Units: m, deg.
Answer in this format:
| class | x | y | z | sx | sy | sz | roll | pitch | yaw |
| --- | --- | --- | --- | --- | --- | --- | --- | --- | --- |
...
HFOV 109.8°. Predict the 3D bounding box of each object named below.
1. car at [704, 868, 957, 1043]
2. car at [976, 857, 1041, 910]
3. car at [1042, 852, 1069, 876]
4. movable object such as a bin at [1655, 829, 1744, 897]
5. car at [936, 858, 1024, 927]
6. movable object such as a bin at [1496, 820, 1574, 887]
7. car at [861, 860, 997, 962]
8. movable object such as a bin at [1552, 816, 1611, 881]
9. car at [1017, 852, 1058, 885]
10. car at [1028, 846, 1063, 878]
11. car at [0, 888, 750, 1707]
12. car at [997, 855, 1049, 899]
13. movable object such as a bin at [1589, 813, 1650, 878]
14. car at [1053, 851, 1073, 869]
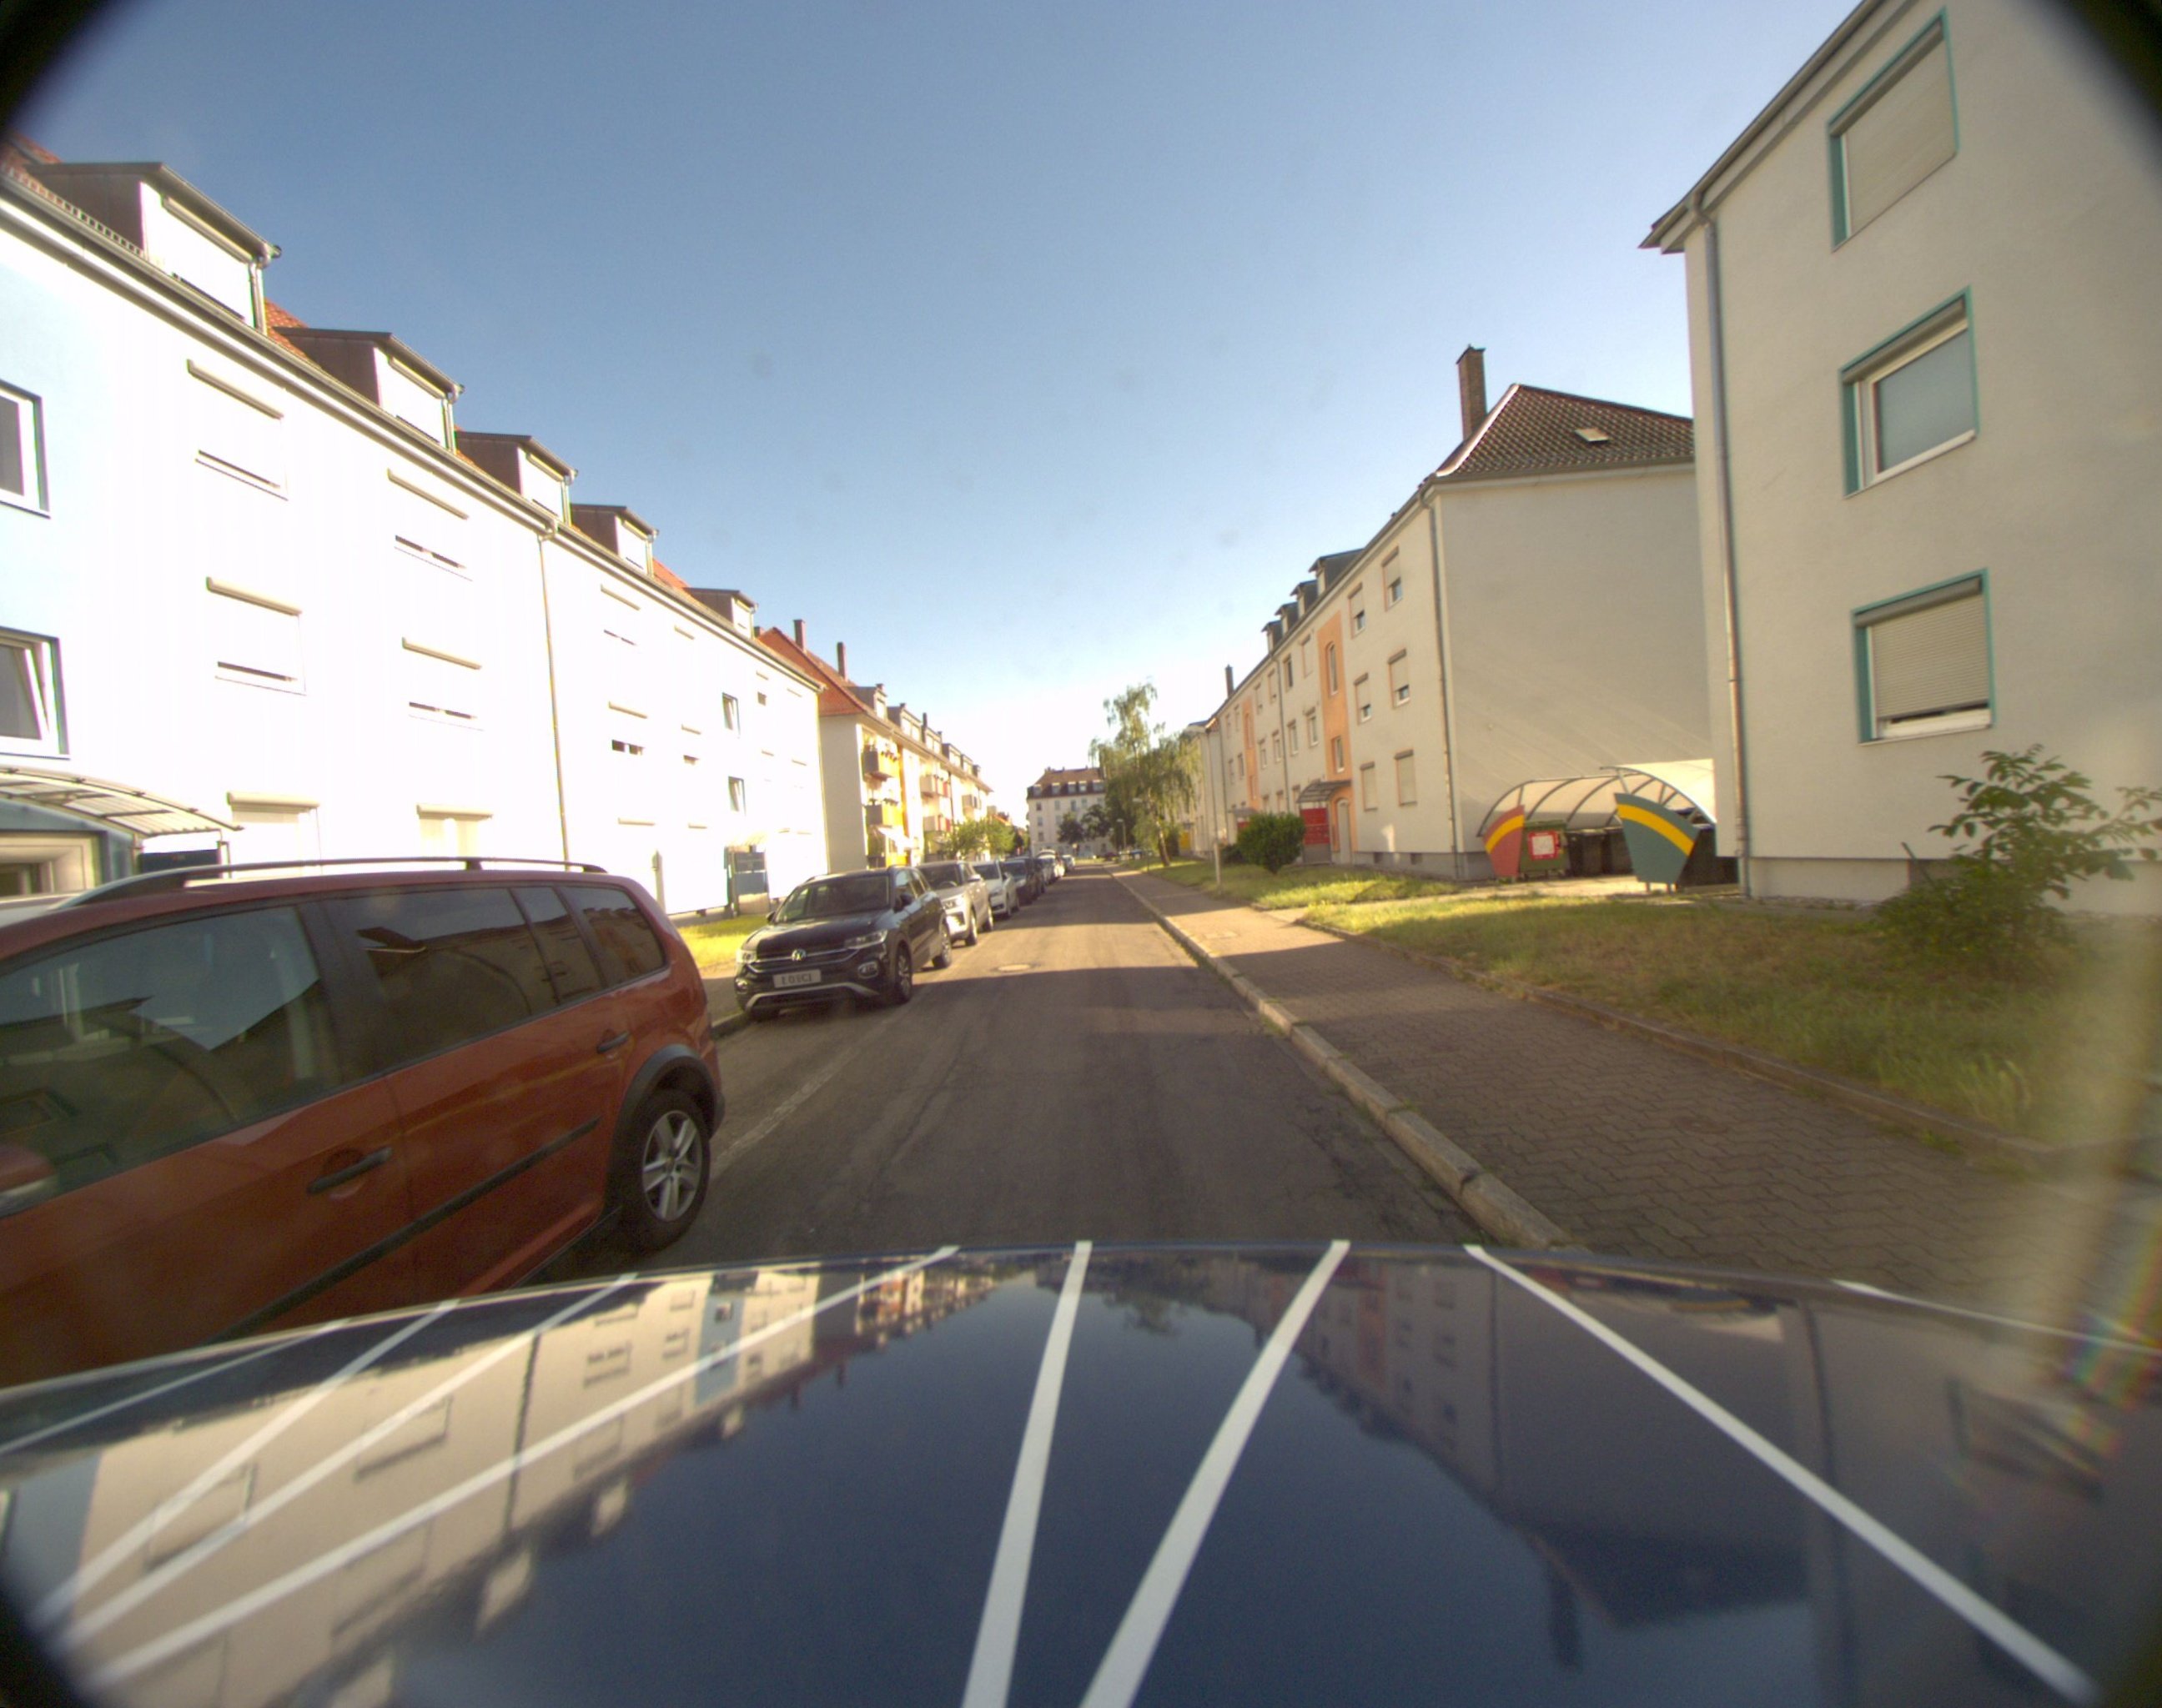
| class | x | y | z | sx | sy | sz | roll | pitch | yaw |
| --- | --- | --- | --- | --- | --- | --- | --- | --- | --- |
| car | -2.777 | 1.033 | 9.399 | 1.708 | 1.516 | 3.876 | -4 | 0 | 1 |
| car | -2.451 | 0.962 | 26.572 | 1.708 | 1.562 | 4.041 | -4 | 0 | 1 |
| car | -1.884 | 0.716 | 57.736 | 1.708 | 1.562 | 4.734 | -4 | 1 | 1 |
| movable object such as a bin | 9.839 | 0.140 | 12.105 | 0.753 | 1.006 | 0.763 | -4 | 1 | 1 |
| car | -2.637 | 0.959 | 20.710 | 1.708 | 1.562 | 4.041 | -4 | 0 | 1 |
| movable object such as a bin | 10.162 | -0.020 | 17.035 | 1.167 | 1.385 | 0.877 | -4 | 1 | 1 |
| car | -2.775 | 0.978 | 14.742 | 1.708 | 1.562 | 3.876 | -4 | 0 | 1 |
| movable object such as a bin | 11.190 | -0.122 | 16.997 | 0.753 | 1.385 | 0.763 | -4 | 1 | 1 |
| car | -2.373 | 0.794 | 42.701 | 1.708 | 1.562 | 4.381 | -4 | 1 | 4 |
| car | -2.356 | 0.501 | 51.653 | 1.953 | 1.890 | 4.763 | -4 | 1 | 1 |
| car | -2.669 | 1.045 | 1.746 | 1.731 | 1.597 | 4.423 | -4 | 0 | 1 |
| car | -2.381 | 0.914 | 31.978 | 1.708 | 1.562 | 4.041 | -4 | 0 | 1 |
| movable object such as a bin | 12.037 | -0.186 | 17.011 | 0.753 | 1.385 | 0.763 | -4 | 1 | 1 |
| car | -1.808 | 0.587 | 75.673 | 1.708 | 1.562 | 3.925 | -4 | 1 | 1 |
